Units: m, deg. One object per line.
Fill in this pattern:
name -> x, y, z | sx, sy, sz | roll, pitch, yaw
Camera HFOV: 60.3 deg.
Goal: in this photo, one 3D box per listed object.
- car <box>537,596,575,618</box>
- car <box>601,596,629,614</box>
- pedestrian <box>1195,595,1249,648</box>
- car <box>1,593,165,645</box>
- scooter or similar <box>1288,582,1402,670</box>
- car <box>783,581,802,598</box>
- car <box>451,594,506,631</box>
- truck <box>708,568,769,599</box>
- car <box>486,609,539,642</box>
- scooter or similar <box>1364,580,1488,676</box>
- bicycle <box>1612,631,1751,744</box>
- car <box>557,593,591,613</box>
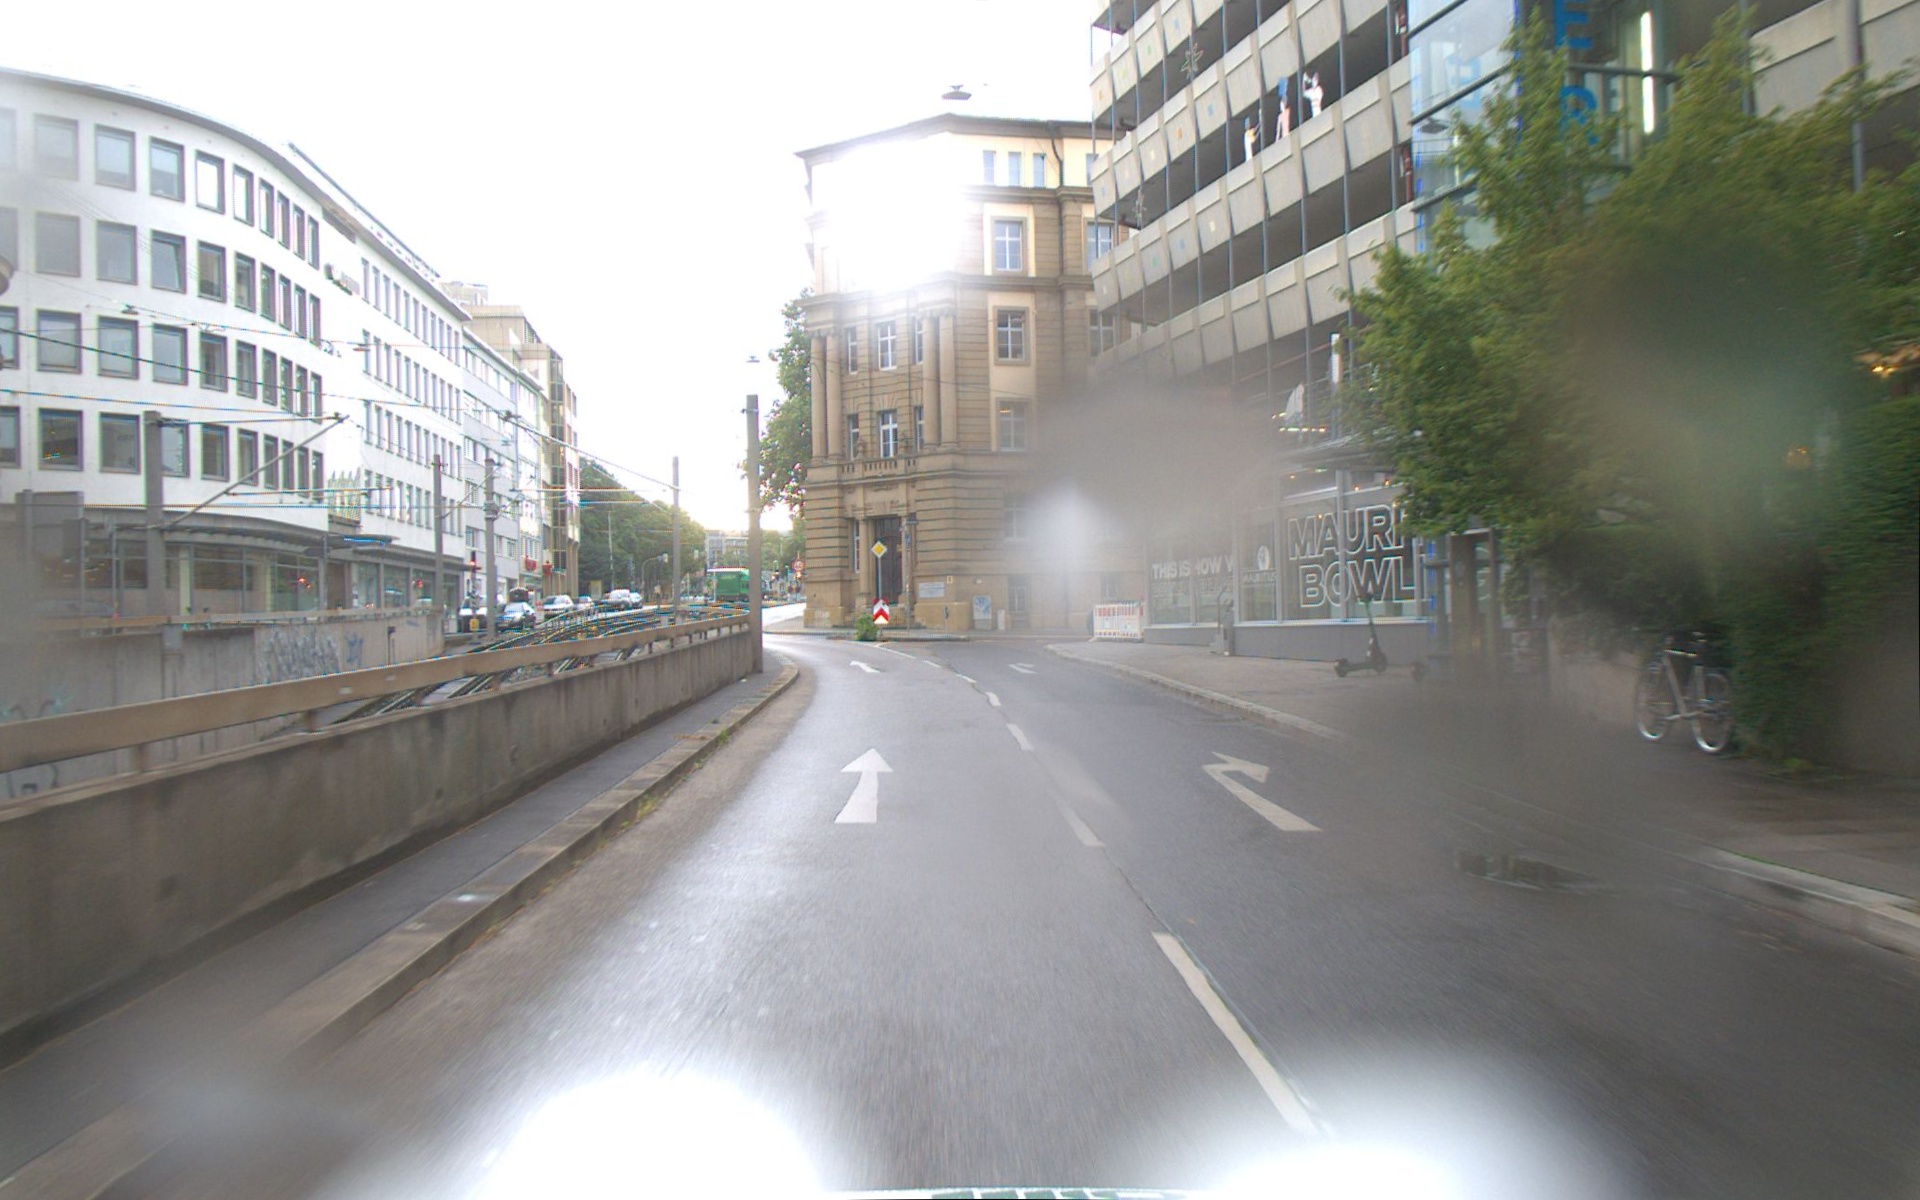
car -> -27.122, 0.469, 111.158 | 1.955, 1.482, 4.305 | 0, 0, -6
car -> -29.189, 0.403, 140.054 | 1.955, 1.482, 4.305 | 0, 0, -6
pedestrian -> 5.746, 0.457, 36.324 | 0.740, 1.143, 1.242 | 0, 0, -15
car -> -30.203, 0.643, 57.061 | 4.740, 1.548, 1.650 | -3, 0, -42
scooter or similar -> 6.059, 0.397, 26.031 | 1.615, 1.290, 0.737 | -3, 1, -26
car -> -17.285, -1.081, 170.357 | 1.955, 1.691, 3.995 | 0, 0, -6
car -> -25.729, 0.636, 88.464 | 1.955, 1.916, 4.920 | 0, 0, -6
truck -> -25.613, -1.892, 191.095 | 7.772, 3.446, 1.992 | 1, 0, 37
car -> -21.894, 1.215, 81.025 | 1.955, 1.554, 3.658 | 0, 0, -6
scooter or similar -> 6.727, 0.386, 23.875 | 1.615, 1.290, 0.737 | -3, 1, -26
bicycle -> 6.359, 0.749, 14.660 | 0.460, 0.900, 1.689 | -1, 0, -1
car -> -28.806, 0.231, 123.408 | 1.955, 1.482, 4.305 | 0, 0, -6
